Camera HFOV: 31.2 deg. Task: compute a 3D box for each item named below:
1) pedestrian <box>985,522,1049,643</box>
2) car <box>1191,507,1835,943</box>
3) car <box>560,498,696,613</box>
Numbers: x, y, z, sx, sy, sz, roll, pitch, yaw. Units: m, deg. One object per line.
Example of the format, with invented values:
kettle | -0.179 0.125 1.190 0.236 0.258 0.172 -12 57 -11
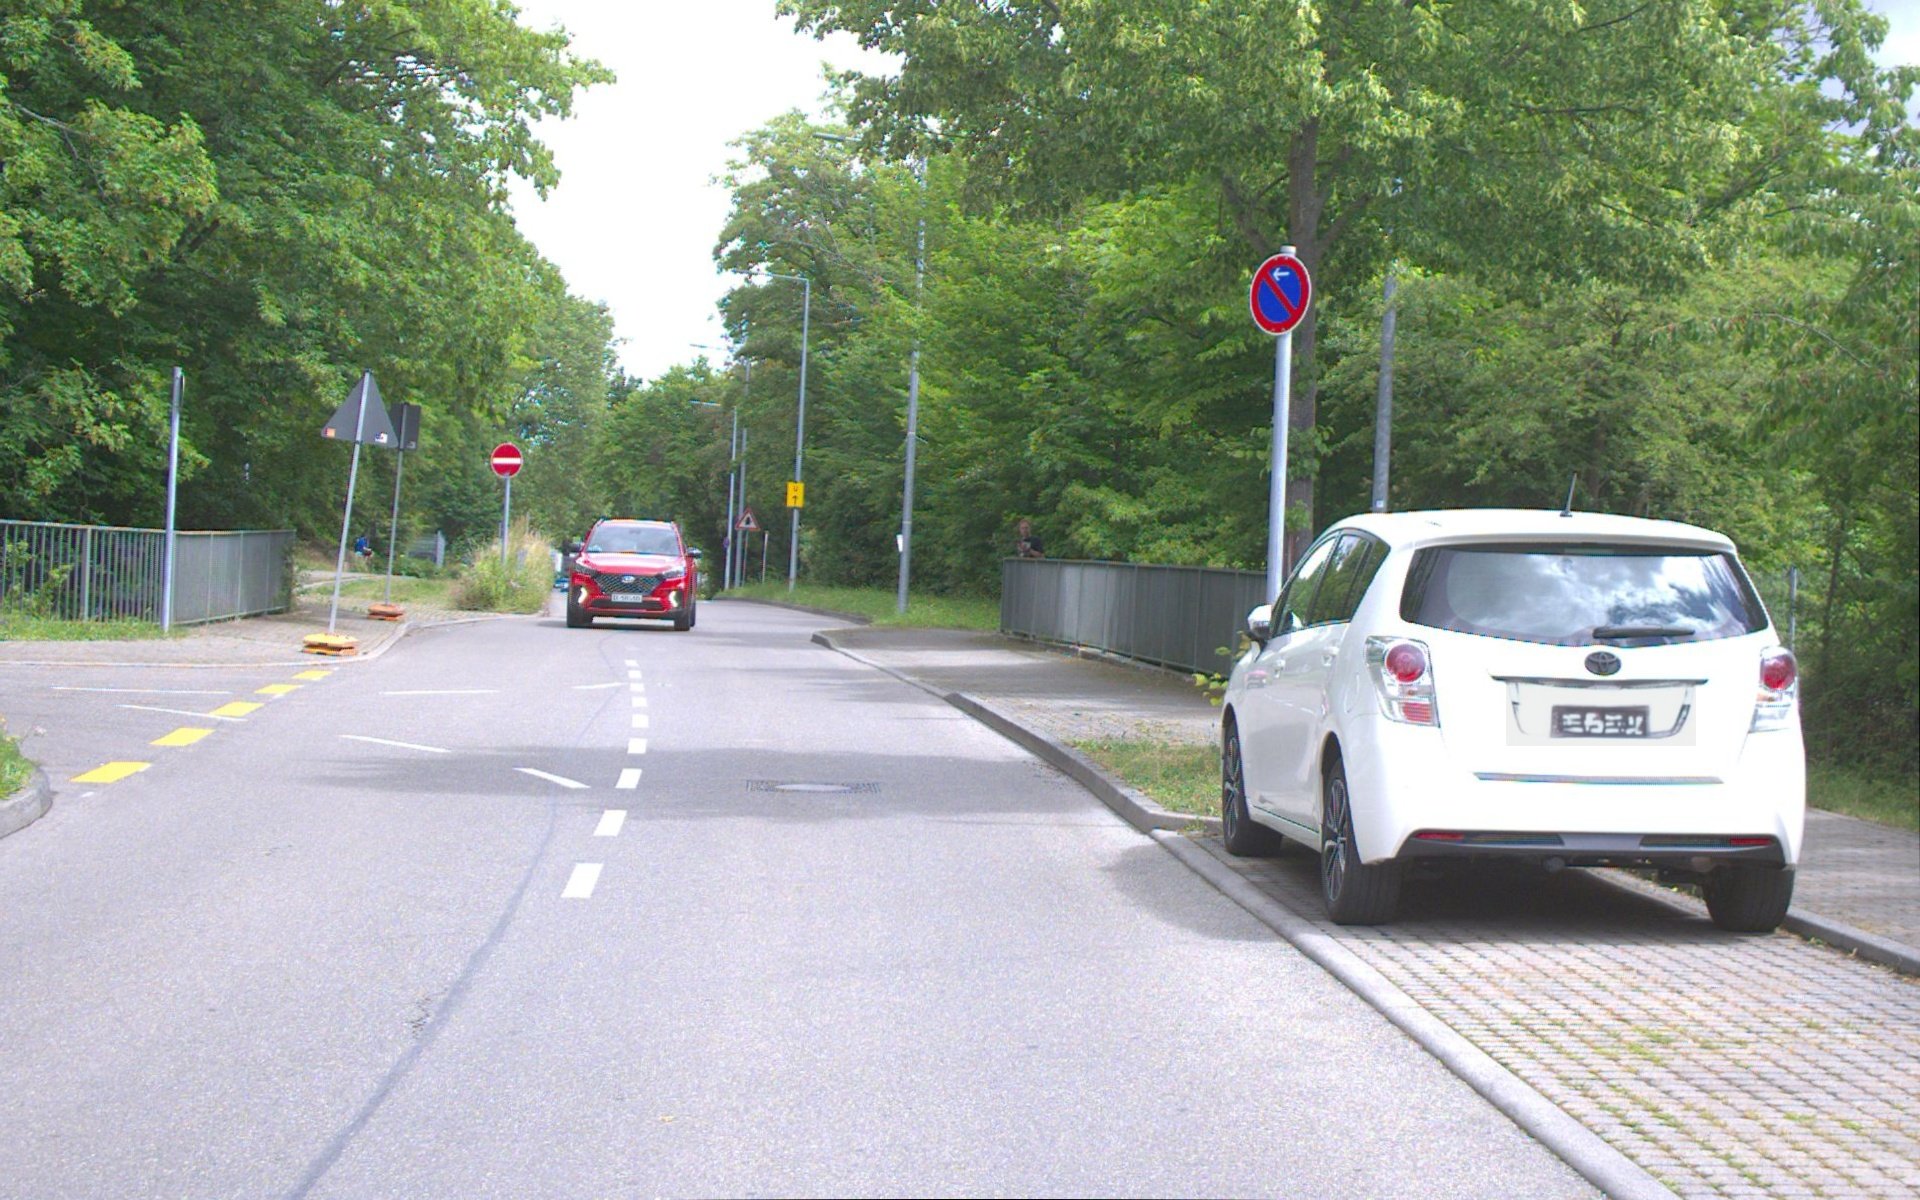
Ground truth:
pedestrian | 0.853 -0.261 51.665 0.587 1.777 0.682 3 -2 -42
car | 2.190 0.426 14.865 1.804 1.594 4.372 1 1 -4
car | -5.072 -0.697 52.958 1.843 1.653 4.222 2 1 -3
